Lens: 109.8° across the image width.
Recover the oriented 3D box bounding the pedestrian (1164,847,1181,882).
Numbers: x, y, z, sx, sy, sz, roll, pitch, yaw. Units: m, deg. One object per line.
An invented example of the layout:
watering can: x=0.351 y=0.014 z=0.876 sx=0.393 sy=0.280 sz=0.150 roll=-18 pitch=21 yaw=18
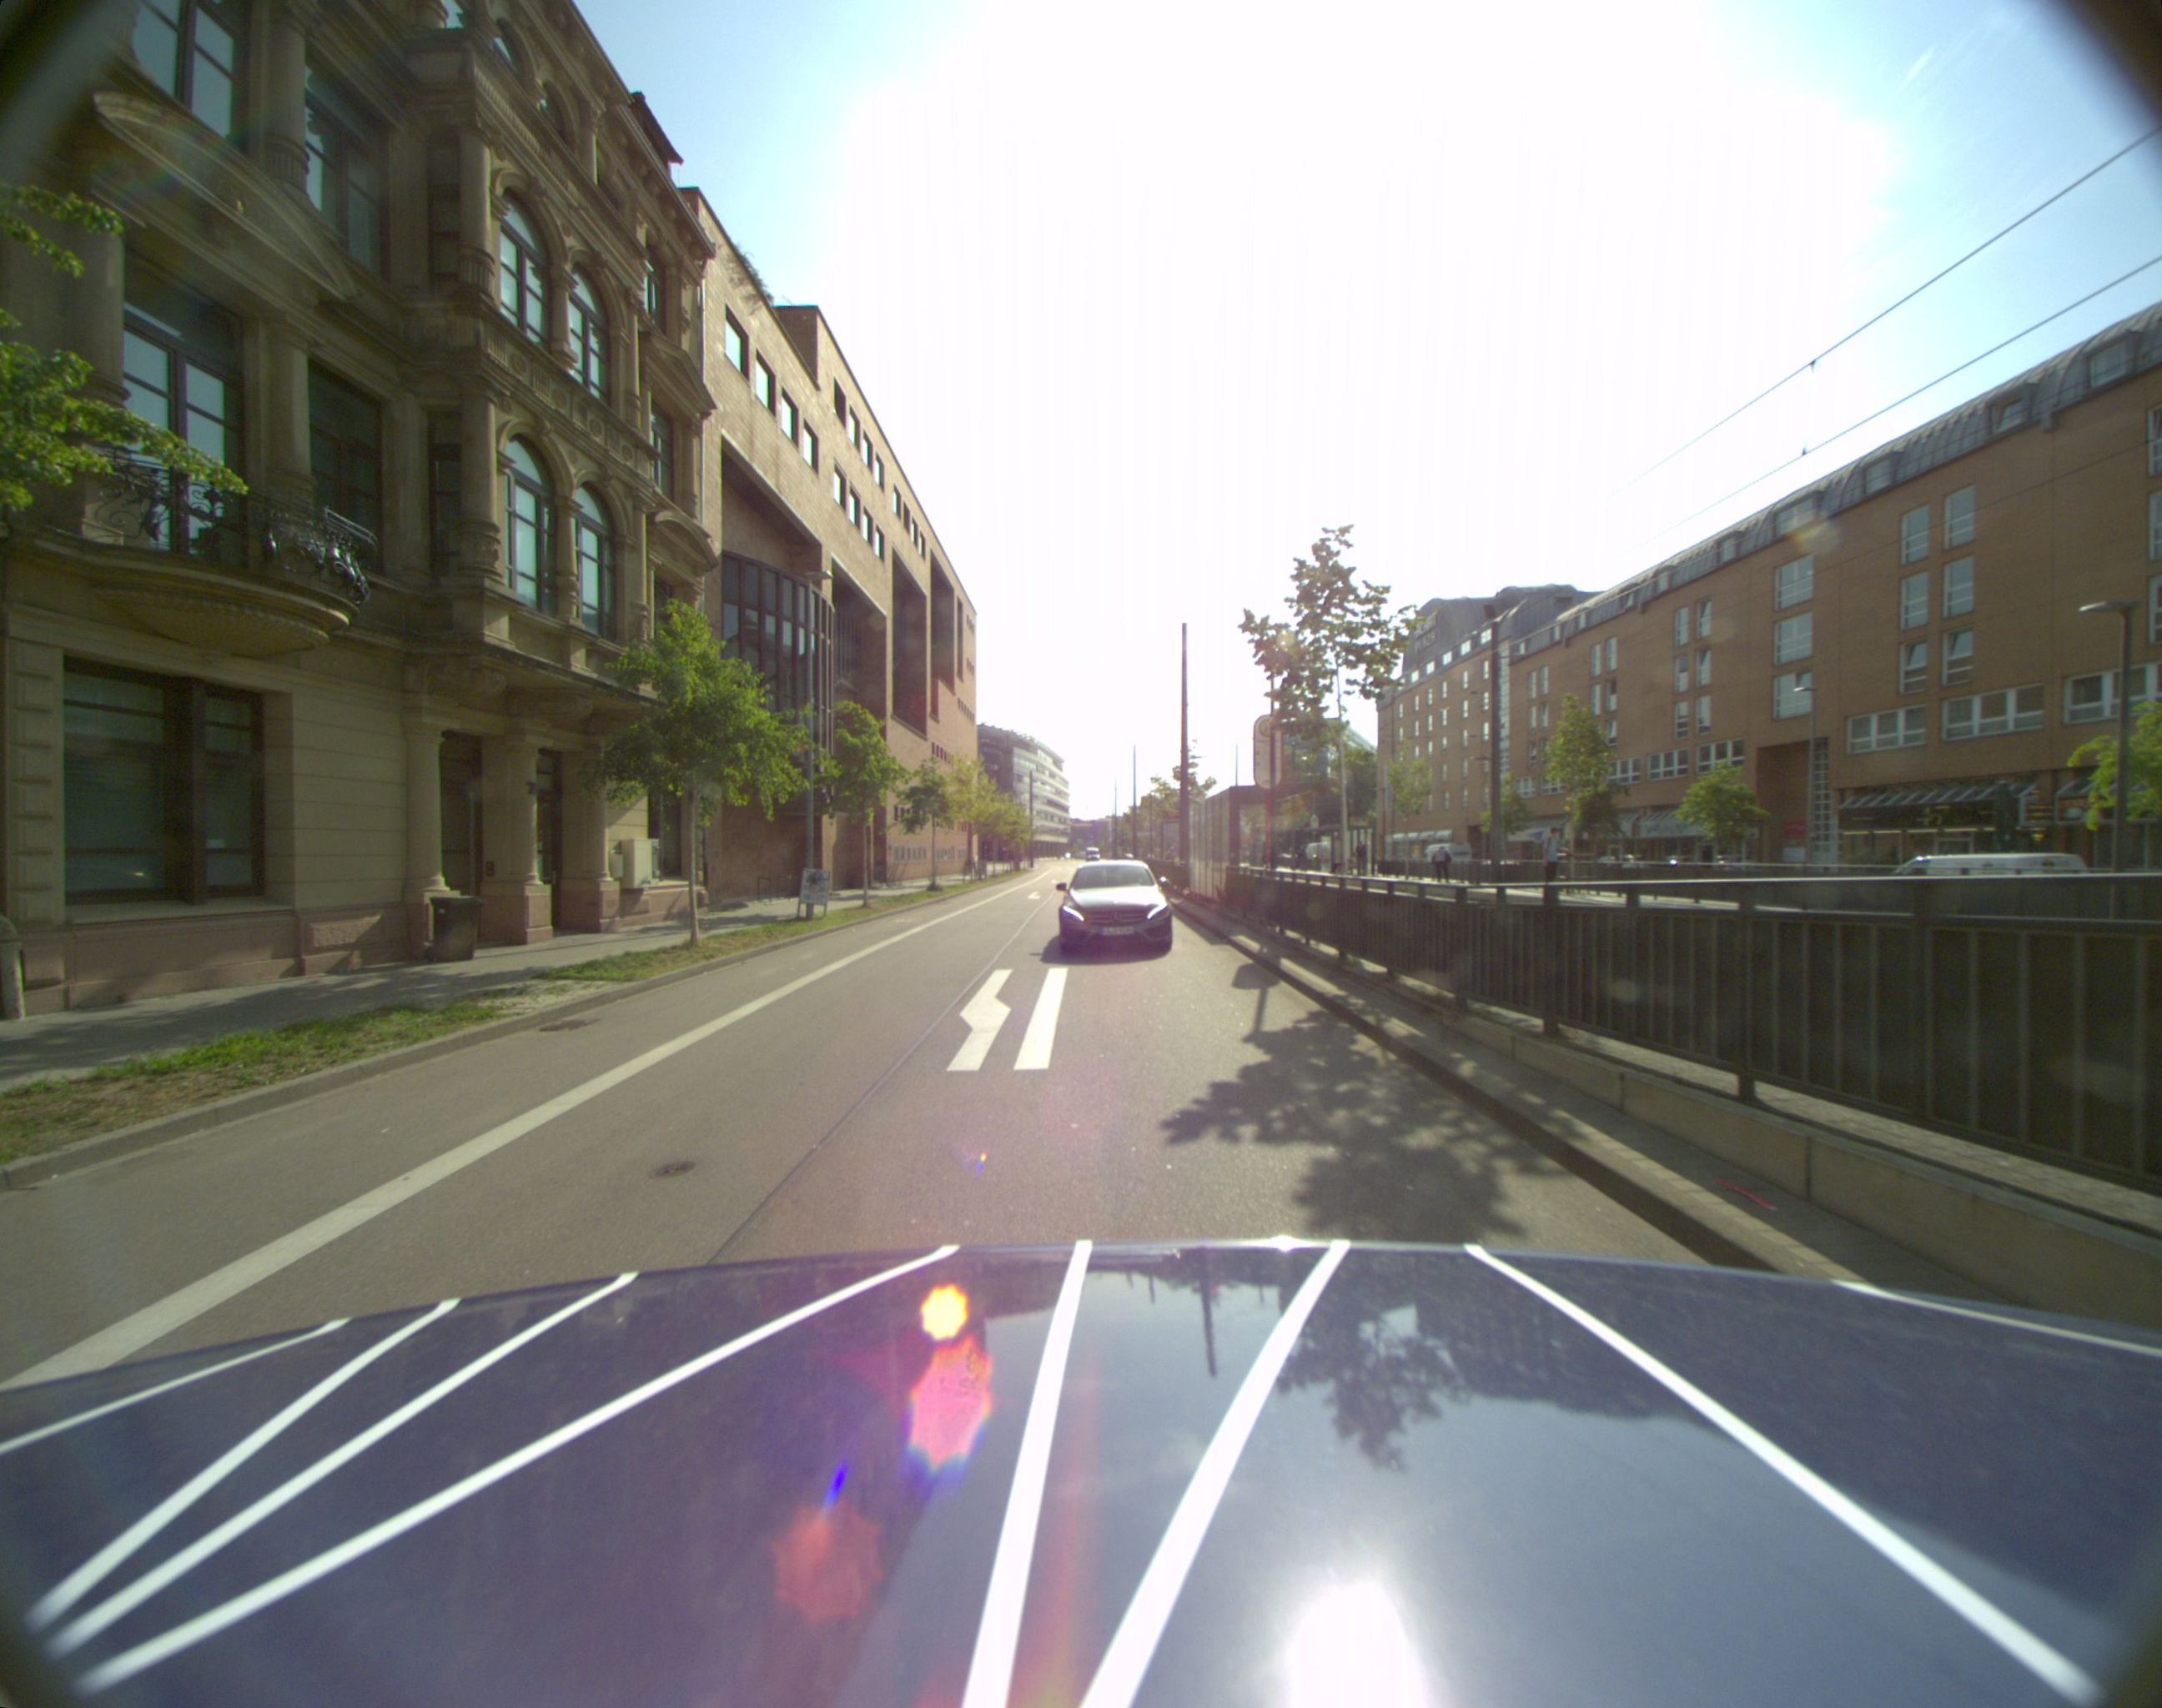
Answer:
pedestrian: x=4.686 y=0.518 z=38.964 sx=0.675 sy=1.747 sz=0.727 roll=-3 pitch=1 yaw=0

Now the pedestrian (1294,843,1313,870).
pedestrian: x=14.442 y=0.154 z=49.397 sx=0.786 sy=1.736 sz=0.833 roll=1 pitch=1 yaw=-35

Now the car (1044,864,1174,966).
car: x=0.460 y=0.938 z=13.432 sx=1.907 sy=1.384 sz=4.236 roll=-1 pitch=1 yaw=1

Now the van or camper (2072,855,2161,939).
van or camper: x=26.241 y=1.019 z=17.441 sx=1.934 sy=1.956 sz=4.001 roll=0 pitch=0 yaw=6

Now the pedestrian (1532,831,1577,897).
pedestrian: x=13.580 y=0.278 z=21.813 sx=0.740 sy=1.861 sz=0.939 roll=0 pitch=1 yaw=2

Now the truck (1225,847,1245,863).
truck: x=37.426 y=0.145 z=185.418 sx=3.167 sy=3.754 sz=12.362 roll=0 pitch=0 yaw=4

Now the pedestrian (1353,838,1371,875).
pedestrian: x=14.444 y=0.140 z=39.094 sx=0.806 sy=1.875 sz=0.555 roll=0 pitch=1 yaw=10

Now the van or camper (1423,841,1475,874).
van or camper: x=32.138 y=0.293 z=66.577 sx=1.998 sy=2.786 sz=5.353 roll=0 pitch=1 yaw=1

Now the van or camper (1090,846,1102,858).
van or camper: x=2.529 y=-0.359 z=132.657 sx=1.934 sy=2.198 sz=3.985 roll=0 pitch=1 yaw=-1

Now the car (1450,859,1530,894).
car: x=23.218 y=1.233 z=43.323 sx=1.999 sy=1.795 sz=4.631 roll=0 pitch=0 yaw=-1

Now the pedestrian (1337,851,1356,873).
pedestrian: x=14.949 y=0.457 z=42.807 sx=0.793 sy=1.238 sz=0.675 roll=1 pitch=1 yaw=0

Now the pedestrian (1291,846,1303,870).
pedestrian: x=15.646 y=0.282 z=55.004 sx=0.652 sy=1.750 sz=0.698 roll=-3 pitch=1 yaw=2

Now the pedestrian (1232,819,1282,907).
pedestrian: x=4.178 y=0.211 z=18.080 sx=0.835 sy=2.002 sz=1.028 roll=-3 pitch=1 yaw=-2

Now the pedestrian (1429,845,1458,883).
pedestrian: x=14.660 y=0.404 z=30.736 sx=0.679 sy=1.522 sz=0.810 roll=-1 pitch=1 yaw=-30

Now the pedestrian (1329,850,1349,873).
pedestrian: x=15.162 y=0.441 z=44.724 sx=0.871 sy=1.306 sz=0.808 roll=0 pitch=1 yaw=-2

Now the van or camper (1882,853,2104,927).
van or camper: x=26.877 y=0.981 z=22.644 sx=1.997 sy=2.002 sz=4.002 roll=0 pitch=0 yaw=6

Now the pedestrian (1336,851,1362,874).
pedestrian: x=14.832 y=0.465 z=42.073 sx=1.156 sy=1.238 sz=0.675 roll=1 pitch=1 yaw=0
